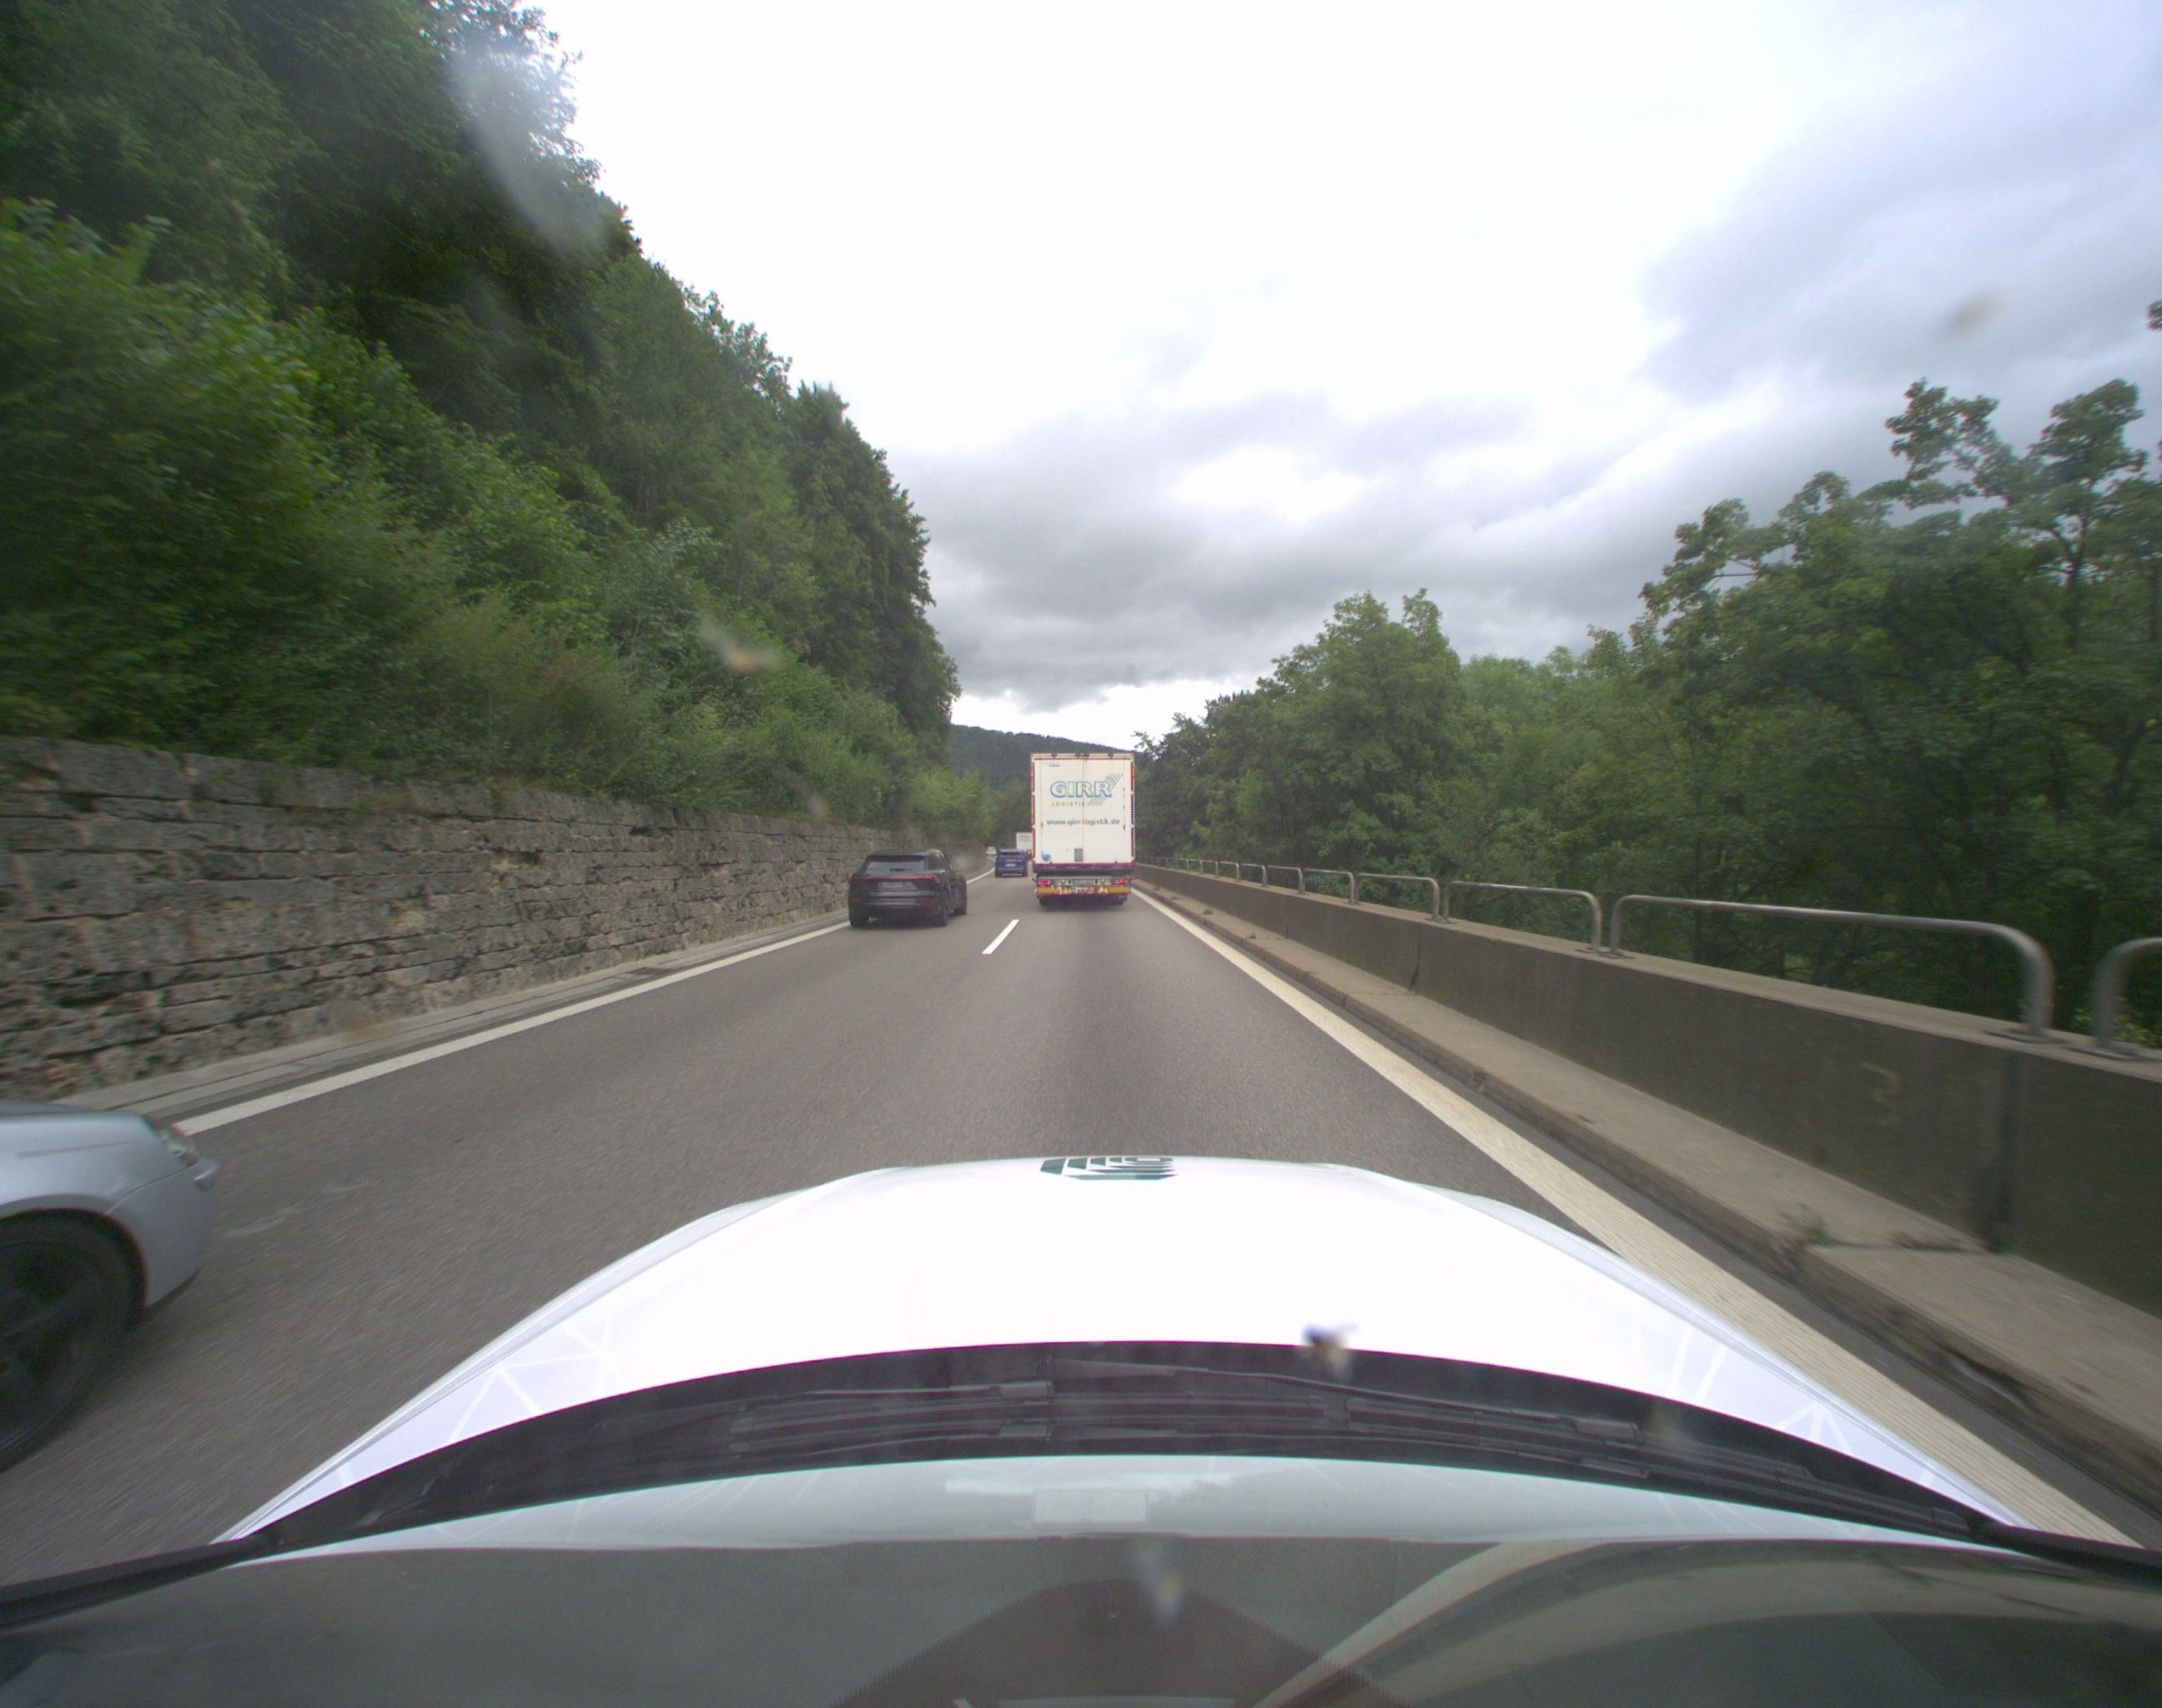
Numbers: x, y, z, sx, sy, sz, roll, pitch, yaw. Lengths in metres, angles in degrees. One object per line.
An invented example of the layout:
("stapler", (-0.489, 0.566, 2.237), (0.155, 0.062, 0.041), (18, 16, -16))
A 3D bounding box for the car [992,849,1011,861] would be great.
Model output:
("car", (-11.133, 0.132, 113.603), (1.996, 1.596, 4.335), (-2, 1, -13))

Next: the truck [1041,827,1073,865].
("truck", (-1.966, -0.586, 63.897), (2.205, 2.851, 4.994), (0, 0, -5))

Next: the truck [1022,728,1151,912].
("truck", (-0.031, -0.854, 27.498), (3.076, 4.464, 15.146), (-1, 0, -1))

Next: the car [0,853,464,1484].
("car", (-3.472, 0.780, 1.095), (1.675, 1.515, 4.584), (-2, 0, 1))

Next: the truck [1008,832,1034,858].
("truck", (-9.584, -1.413, 128.930), (2.635, 3.857, 12.312), (-1, 0, -11))

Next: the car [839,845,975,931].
("car", (-3.688, 0.652, 18.239), (1.988, 1.632, 5.006), (-1, 0, -1))

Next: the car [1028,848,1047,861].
("car", (-5.775, 0.085, 107.372), (2.059, 1.654, 3.989), (-1, 0, -8))

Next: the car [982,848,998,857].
("car", (-16.281, -0.313, 145.571), (1.902, 1.550, 4.222), (0, 0, -19))

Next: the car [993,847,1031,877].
("car", (-4.038, 0.454, 48.349), (1.989, 1.632, 5.003), (-1, 0, -3))
